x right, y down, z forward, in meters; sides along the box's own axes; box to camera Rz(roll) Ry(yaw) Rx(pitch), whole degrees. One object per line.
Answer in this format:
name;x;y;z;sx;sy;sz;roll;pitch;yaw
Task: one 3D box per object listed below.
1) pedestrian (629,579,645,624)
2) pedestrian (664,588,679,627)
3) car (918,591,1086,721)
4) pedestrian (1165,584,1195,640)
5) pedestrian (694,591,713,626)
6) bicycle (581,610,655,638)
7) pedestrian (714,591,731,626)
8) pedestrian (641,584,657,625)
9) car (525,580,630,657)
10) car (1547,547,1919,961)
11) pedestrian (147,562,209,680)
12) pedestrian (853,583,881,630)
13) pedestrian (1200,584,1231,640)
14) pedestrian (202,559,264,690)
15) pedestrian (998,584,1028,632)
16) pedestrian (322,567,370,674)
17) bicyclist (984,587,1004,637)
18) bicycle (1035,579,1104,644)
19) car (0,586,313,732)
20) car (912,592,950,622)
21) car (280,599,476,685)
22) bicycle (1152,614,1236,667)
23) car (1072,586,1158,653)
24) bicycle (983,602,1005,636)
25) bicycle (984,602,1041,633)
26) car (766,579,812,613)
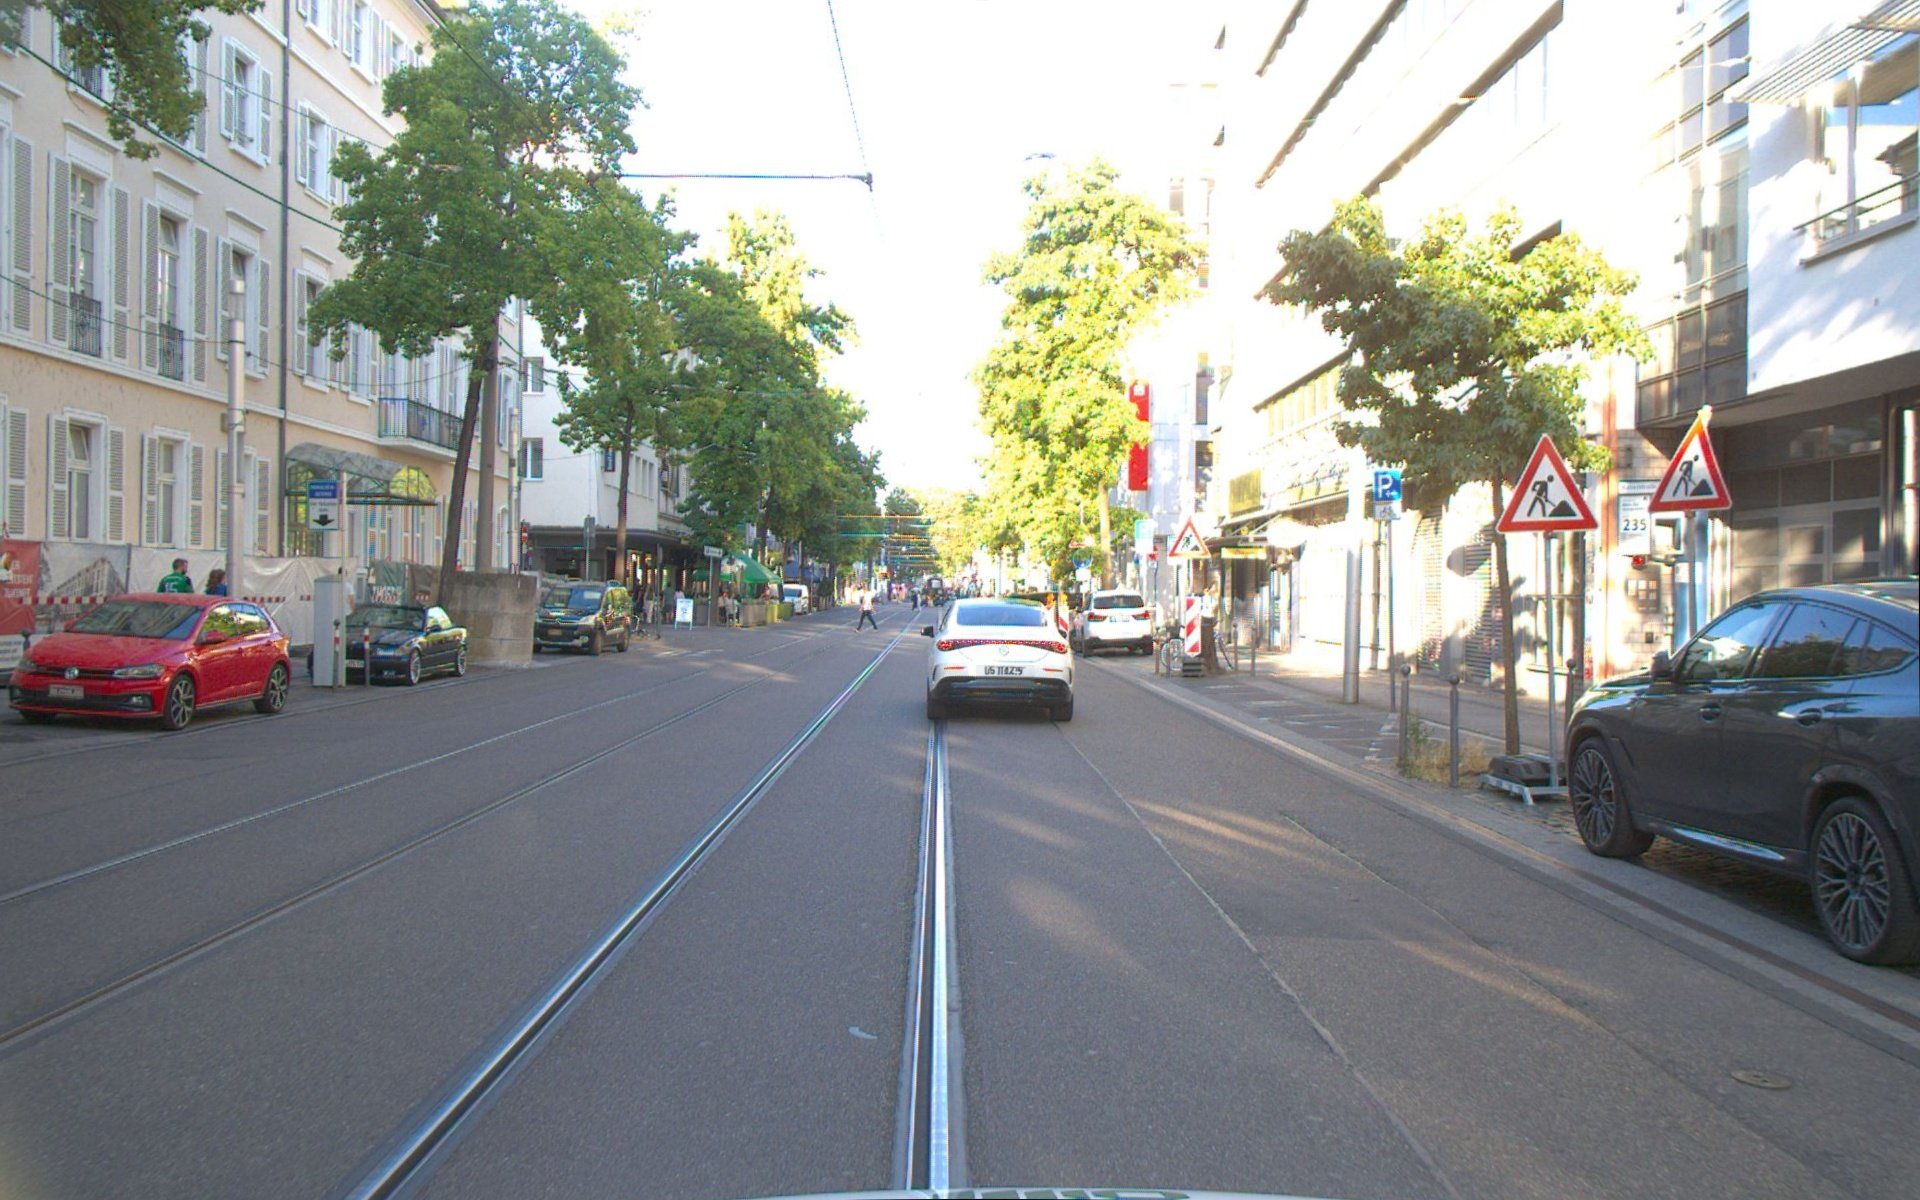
pedestrian;-13.454;0.065;68.911;0.506;1.888;0.650;0;0;-1
pedestrian;-12.153;0.303;69.661;0.506;1.644;0.650;0;0;-2
car;0.441;0.644;21.285;1.831;1.494;4.040;0;0;-3
pedestrian;7.142;0.378;53.674;0.785;1.805;0.680;0;0;-13
pedestrian;-11.019;0.382;71.028;0.557;1.489;0.650;1;0;18
bicycle;-10.657;0.748;51.519;2.206;0.845;0.717;1;0;22
pedestrian;-10.416;0.375;72.496;0.511;1.504;0.644;-2;-1;-28
pedestrian;-12.813;0.168;68.141;0.506;1.681;0.650;0;0;-2
car;-9.516;0.427;41.318;1.519;1.827;3.170;0;0;8
car;4.999;0.642;8.806;1.953;1.743;4.865;0;0;-1
pedestrian;-12.321;0.331;26.077;0.693;1.838;0.675;0;0;-6
pedestrian;-3.638;0.256;64.628;0.904;1.805;0.870;0;0;-15
pedestrian;8.243;0.381;53.448;0.785;1.805;0.680;0;0;-13
pedestrian;-11.444;0.384;26.061;0.693;2.039;0.675;0;0;-4
pedestrian;2.007;0.306;62.982;0.904;1.805;0.870;0;0;-15
pedestrian;-11.880;0.386;32.008;0.693;2.039;0.675;0;0;-4
bicyclist;1.205;0.423;58.902;0.710;1.732;0.811;0;0;0
bicycle;3.547;0.376;54.250;1.953;2.049;3.999;0;0;-1
car;-9.371;0.627;19.648;1.654;1.525;4.234;1;0;0
car;-3.106;0.795;178.837;3.957;3.168;8.429;0;0;-1
car;-9.791;0.663;28.154;1.953;1.314;3.999;1;0;-1
bicycle;4.856;0.836;34.415;1.687;1.080;0.581;0;0;2
car;4.220;0.493;45.595;1.953;1.758;4.240;0;0;-1
bicycle;1.202;0.667;59.069;0.725;1.209;2.160;0;0;0
bicycle;1.987;0.666;62.983;2.014;1.155;0.870;0;0;-16
car;-10.681;-0.272;103.517;1.951;2.049;4.003;0;0;7
